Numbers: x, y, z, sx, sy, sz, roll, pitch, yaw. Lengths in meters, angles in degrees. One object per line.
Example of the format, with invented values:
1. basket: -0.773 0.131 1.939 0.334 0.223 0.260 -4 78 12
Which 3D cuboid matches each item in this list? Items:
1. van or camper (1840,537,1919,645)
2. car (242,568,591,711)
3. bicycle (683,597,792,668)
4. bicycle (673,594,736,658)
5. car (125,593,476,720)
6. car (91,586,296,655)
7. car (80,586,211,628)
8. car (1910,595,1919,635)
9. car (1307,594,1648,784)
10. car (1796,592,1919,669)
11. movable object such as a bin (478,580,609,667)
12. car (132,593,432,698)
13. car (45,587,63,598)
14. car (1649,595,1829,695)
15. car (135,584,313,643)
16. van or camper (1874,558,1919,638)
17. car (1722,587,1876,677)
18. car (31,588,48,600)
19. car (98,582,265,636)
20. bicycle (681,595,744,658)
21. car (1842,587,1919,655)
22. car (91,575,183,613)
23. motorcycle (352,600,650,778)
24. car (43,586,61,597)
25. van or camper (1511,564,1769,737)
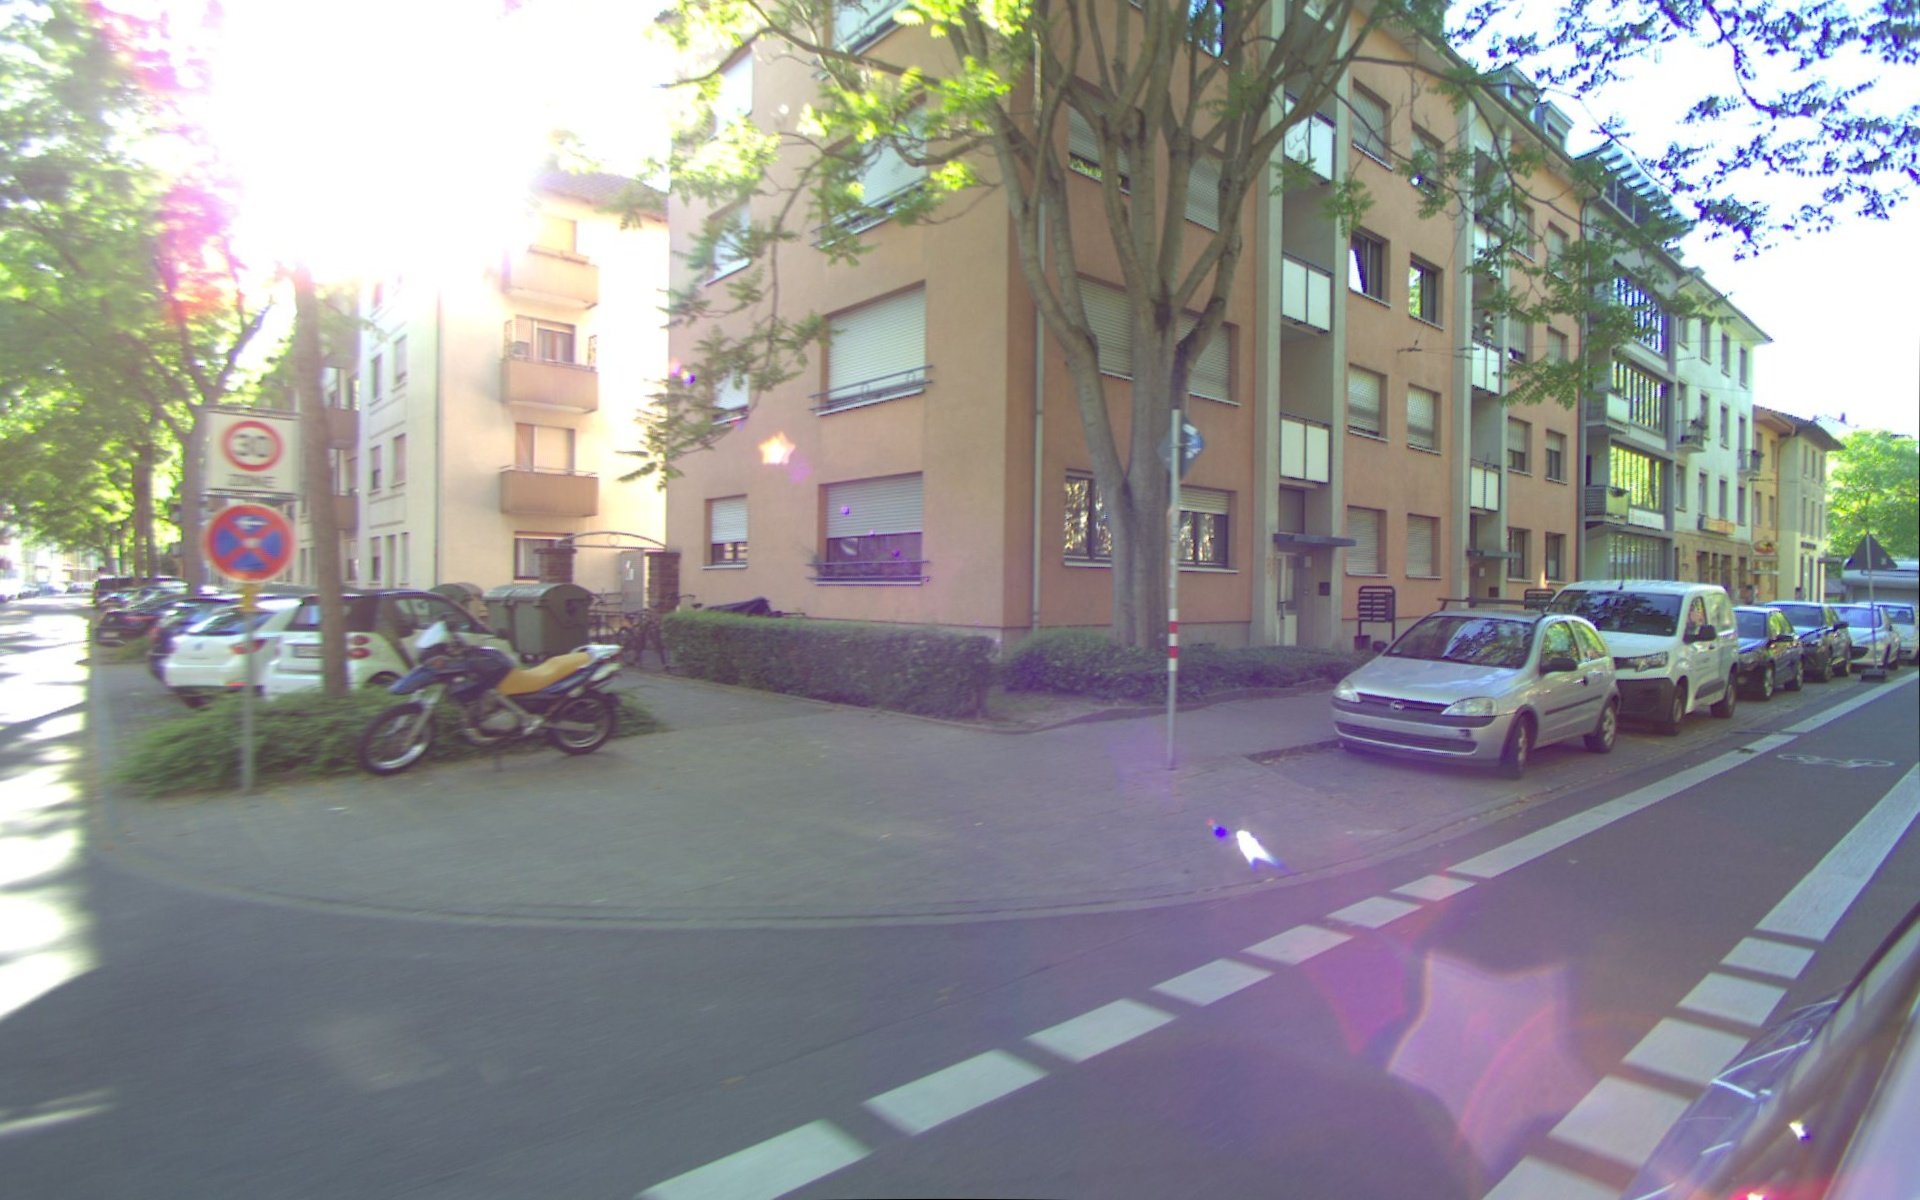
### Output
1. van or camper: 29.586 -0.284 31.609 6.162 3.102 2.465 0 2 -43
2. car: -6.820 0.413 13.219 1.704 1.560 3.977 0 0 18
3. bicycle: -3.697 0.521 16.886 1.745 1.113 0.513 -1 0 -41
4. bicycle: -4.992 0.497 19.737 0.442 1.185 1.773 0 0 -40
5. car: -8.875 0.648 14.048 1.704 1.479 3.923 0 0 18
6. car: -17.873 0.431 23.677 3.720 1.459 1.662 -1 0 -41
7. car: -30.246 0.229 37.660 3.720 1.459 1.662 -1 0 -41
8. car: 39.324 0.617 40.079 4.657 1.512 1.998 0 2 -41
9. car: 5.243 0.702 10.043 3.931 1.491 1.708 0 1 -42
10. car: 20.753 0.619 23.269 4.249 1.540 1.791 0 2 -43
11. movable object such as a bin: -7.612 0.378 18.431 1.355 1.436 2.542 -3 2 -43
12. car: -10.793 0.630 16.468 1.644 1.479 3.923 0 0 18
13. car: -128.091 -1.082 143.148 1.501 1.507 3.305 0 1 -35
14. car: 13.410 0.670 17.332 4.096 1.491 1.708 0 1 -42
15. car: -19.520 0.323 26.921 3.720 1.459 1.662 -1 0 -41
16. van or camper: 34.163 -0.073 35.814 4.894 2.696 2.136 0 2 -42
17. car: 17.186 0.573 20.661 4.262 1.591 1.771 0 2 -42
18. car: -118.107 -0.739 129.863 1.503 1.507 3.301 0 1 -39
19. car: -22.411 0.237 29.201 3.720 1.459 1.662 -1 0 -41
20. bicycle: -4.867 0.498 19.847 0.442 1.180 1.773 0 0 -40
21. car: 25.169 0.514 27.100 4.203 1.648 1.796 0 2 -42
22. car: -43.594 -0.346 53.646 3.720 1.939 1.662 -1 0 -41
23. motorcycle: -3.841 0.674 8.593 2.215 1.314 0.680 -1 1 -36
24. car: -121.691 -1.121 135.625 1.501 1.507 3.304 0 1 -36
25. van or camper: 9.048 0.523 13.292 4.748 1.887 1.757 0 1 -43
